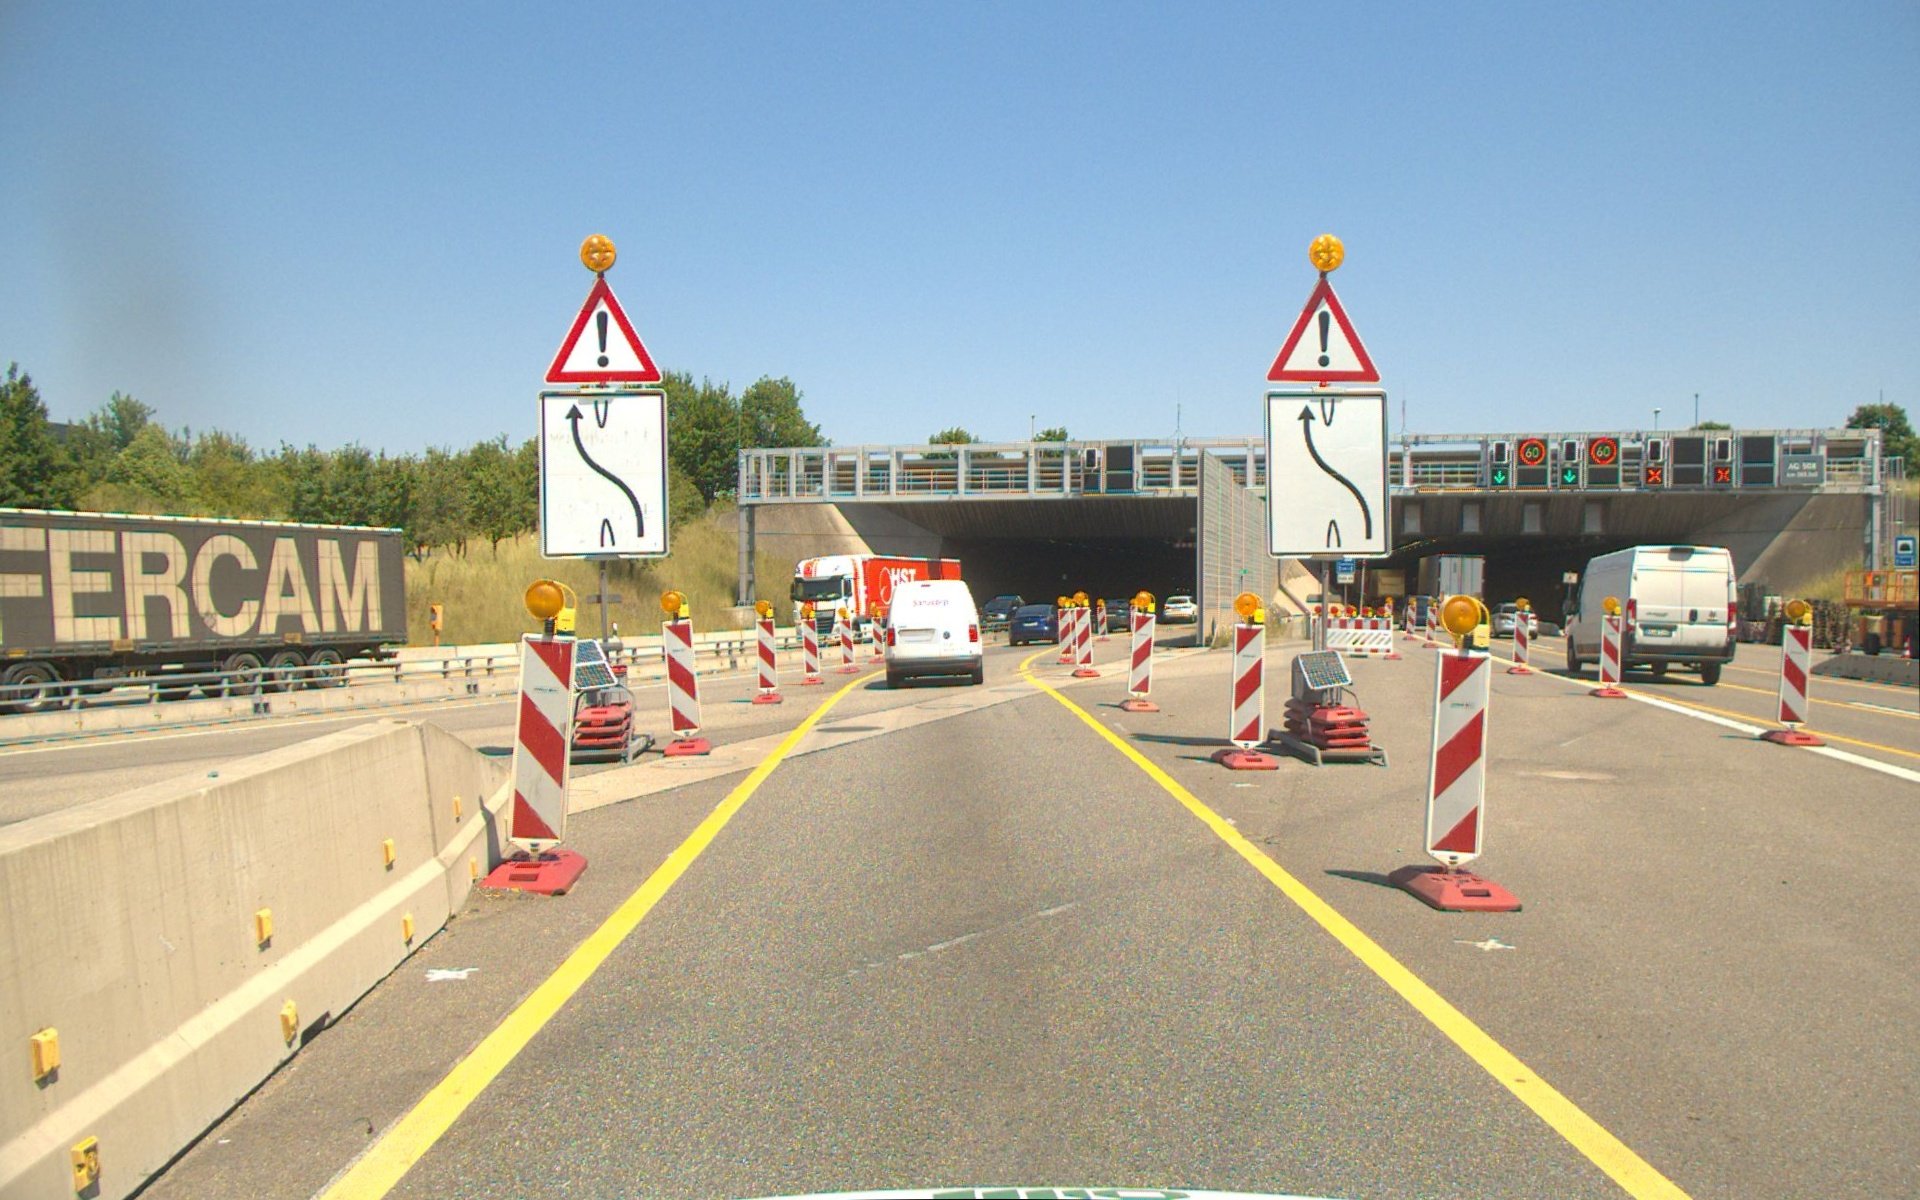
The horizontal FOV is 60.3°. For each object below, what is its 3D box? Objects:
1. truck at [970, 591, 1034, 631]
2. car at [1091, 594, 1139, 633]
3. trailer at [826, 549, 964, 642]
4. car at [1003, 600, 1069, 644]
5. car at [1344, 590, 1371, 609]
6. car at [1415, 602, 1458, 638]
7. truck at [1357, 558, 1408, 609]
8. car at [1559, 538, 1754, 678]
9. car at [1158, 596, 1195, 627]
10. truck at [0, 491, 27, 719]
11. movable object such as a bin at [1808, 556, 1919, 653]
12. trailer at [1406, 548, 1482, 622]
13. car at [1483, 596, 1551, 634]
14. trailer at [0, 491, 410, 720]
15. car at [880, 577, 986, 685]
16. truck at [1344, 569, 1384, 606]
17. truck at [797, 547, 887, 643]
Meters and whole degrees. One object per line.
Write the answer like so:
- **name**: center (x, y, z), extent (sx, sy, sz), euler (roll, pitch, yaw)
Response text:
- **truck**: center (2.181, 0.542, 85.159), extent (1.952, 1.906, 4.763), euler (-1, 0, 19)
- **car**: center (7.571, 0.655, 80.544), extent (1.770, 1.847, 4.413), euler (-1, 0, 13)
- **trailer**: center (-2.972, -0.168, 81.872), extent (2.289, 4.174, 13.266), euler (-1, -1, 18)
- **car**: center (2.858, 0.806, 61.321), extent (1.770, 1.564, 4.413), euler (-1, 0, 11)
- **car**: center (35.209, -0.032, 146.441), extent (1.776, 1.658, 4.193), euler (2, 0, 6)
- **car**: center (23.439, 1.007, 81.485), extent (1.776, 1.671, 4.656), euler (1, 0, 13)
- **truck**: center (41.954, -1.502, 164.594), extent (3.329, 4.411, 16.548), euler (2, -1, 9)
- **car**: center (14.254, 0.168, 34.324), extent (2.217, 2.580, 6.590), euler (1, 0, 9)
- **car**: center (12.947, 0.664, 98.564), extent (1.770, 1.781, 4.413), euler (-1, 0, 13)
- **truck**: center (-19.992, 0.103, 30.175), extent (2.380, 4.345, 4.841), euler (-1, -1, 18)
- **movable object such as a bin**: center (32.123, 0.137, 54.354), extent (3.045, 3.063, 14.713), euler (-1, -1, 9)
- **trailer**: center (29.531, -0.782, 101.454), extent (2.674, 4.133, 14.106), euler (1, 0, 9)
- **car**: center (23.643, 0.642, 70.359), extent (1.776, 1.490, 4.656), euler (2, 0, 7)
- **trailer**: center (-17.693, 0.130, 37.024), extent (2.385, 4.372, 13.814), euler (-1, 0, 19)
- **car**: center (-0.450, 0.541, 29.970), extent (1.771, 1.825, 3.731), euler (-1, 0, 0)
- **truck**: center (49.820, -1.501, 204.263), extent (3.329, 4.142, 16.549), euler (1, 0, 9)
- **truck**: center (-5.287, -0.214, 74.867), extent (2.285, 4.180, 5.019), euler (-1, -1, 18)
